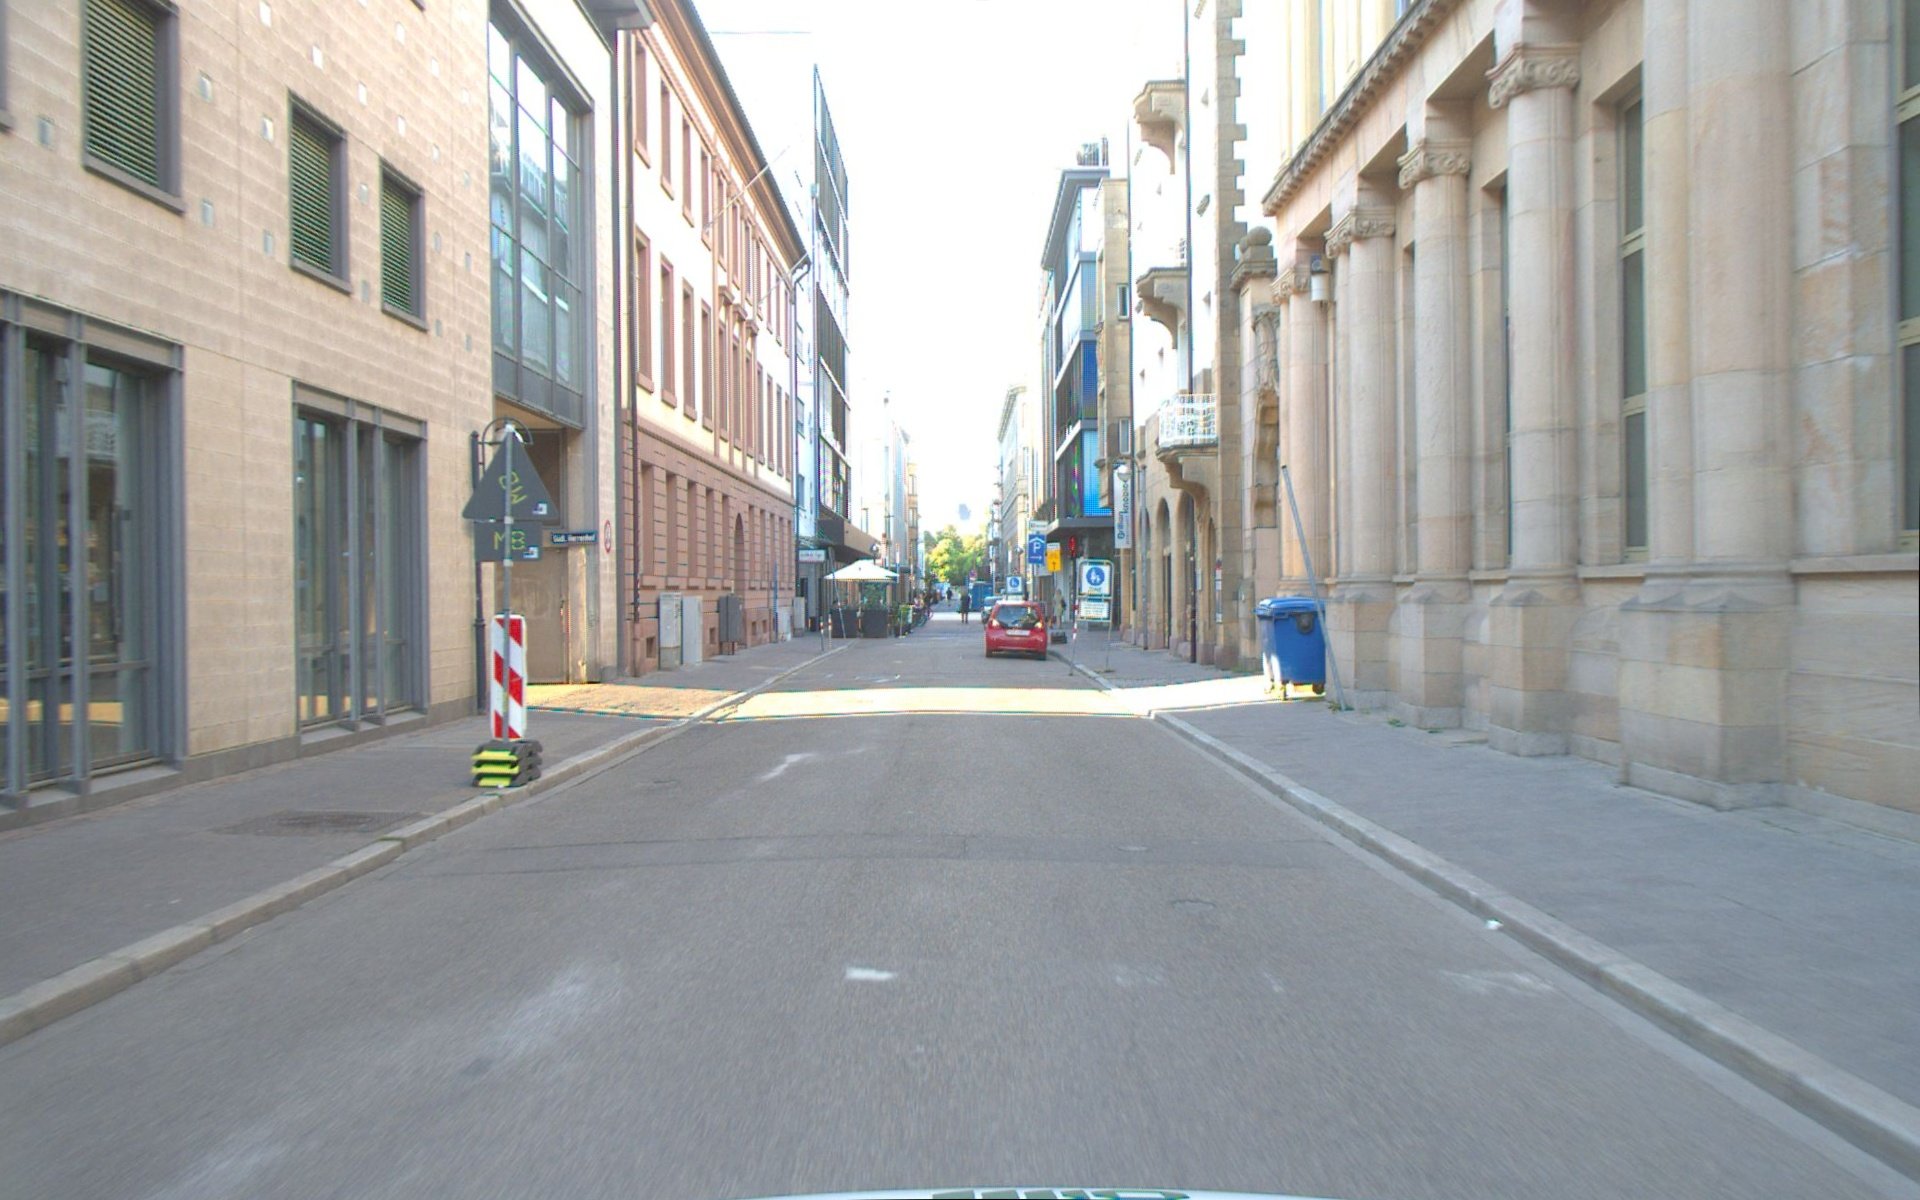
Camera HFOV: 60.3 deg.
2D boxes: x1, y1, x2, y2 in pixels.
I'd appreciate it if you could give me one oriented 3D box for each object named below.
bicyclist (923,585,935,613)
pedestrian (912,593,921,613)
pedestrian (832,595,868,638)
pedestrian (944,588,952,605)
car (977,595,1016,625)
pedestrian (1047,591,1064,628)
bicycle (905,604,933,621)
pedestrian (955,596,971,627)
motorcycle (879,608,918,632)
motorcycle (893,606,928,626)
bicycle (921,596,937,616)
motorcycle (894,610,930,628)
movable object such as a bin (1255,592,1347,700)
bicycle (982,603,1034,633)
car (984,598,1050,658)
[{"bbox_3d":[-1.884,-0.046,100.732,0.624,1.669,0.770,0,0,-9],"label":"bicyclist"},{"bbox_3d":[-3.555,0.236,134.277,0.664,1.651,0.626,0,0,2],"label":"pedestrian"},{"bbox_3d":[-3.953,0.600,59.421,1.264,1.514,0.661,0,0,-2],"label":"pedestrian"},{"bbox_3d":[-1.292,-0.380,173.140,0.788,1.702,0.888,-1,0,2],"label":"pedestrian"},{"bbox_3d":[2.032,0.569,93.082,1.953,1.639,3.999,0,0,-2],"label":"car"},{"bbox_3d":[3.913,0.381,67.839,0.643,1.514,0.493,0,0,2],"label":"pedestrian"},{"bbox_3d":[-2.253,0.695,90.611,1.501,0.912,0.481,0,0,-28],"label":"bicycle"},{"bbox_3d":[0.167,0.622,93.846,0.848,1.743,0.852,0,0,-2],"label":"pedestrian"},{"bbox_3d":[-2.799,0.896,75.295,1.766,1.059,0.493,0,0,-4],"label":"motorcycle"},{"bbox_3d":[-2.510,0.813,84.515,1.766,1.007,0.560,0,0,-4],"label":"motorcycle"},{"bbox_3d":[-1.876,0.353,100.751,0.624,1.177,2.496,0,0,-9],"label":"bicycle"},{"bbox_3d":[-2.419,0.951,83.509,1.766,0.891,0.560,0,0,-4],"label":"motorcycle"},{"bbox_3d":[4.672,0.613,22.733,0.970,1.416,1.240,-1,0,-1],"label":"movable object such as a bin"},{"bbox_3d":[1.887,0.721,65.468,2.011,1.154,0.649,0,0,-4],"label":"bicycle"},{"bbox_3d":[1.477,0.704,43.666,1.615,1.452,3.535,2,0,0],"label":"car"}]
